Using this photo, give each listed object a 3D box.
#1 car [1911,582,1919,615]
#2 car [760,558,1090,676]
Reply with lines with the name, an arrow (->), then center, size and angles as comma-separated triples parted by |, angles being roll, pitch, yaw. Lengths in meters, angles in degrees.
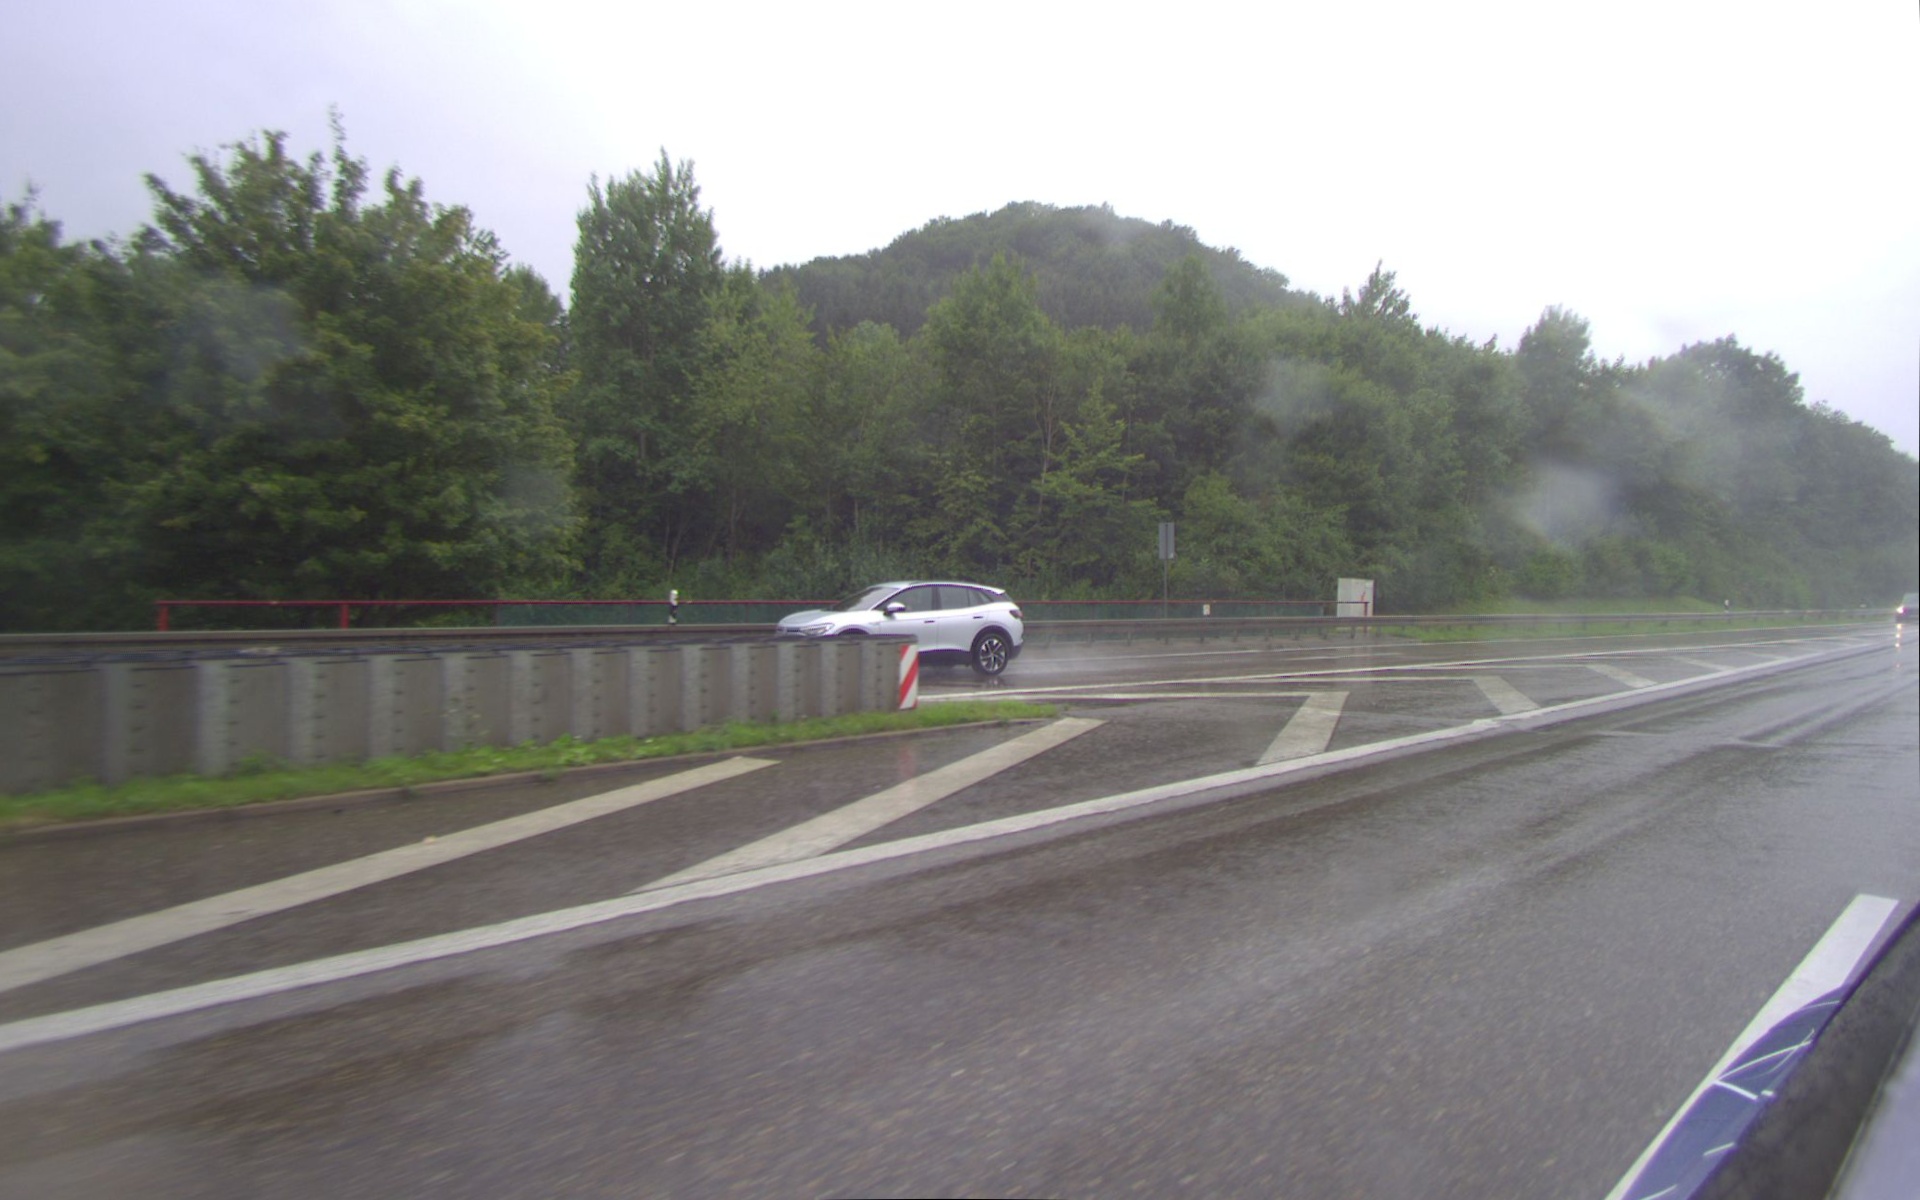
car -> 59.962, -0.090, 61.997 | 3.927, 2.039, 1.859 | 0, 1, -38
car -> -0.490, 0.218, 17.668 | 5.554, 1.772, 2.000 | -1, 0, -34
